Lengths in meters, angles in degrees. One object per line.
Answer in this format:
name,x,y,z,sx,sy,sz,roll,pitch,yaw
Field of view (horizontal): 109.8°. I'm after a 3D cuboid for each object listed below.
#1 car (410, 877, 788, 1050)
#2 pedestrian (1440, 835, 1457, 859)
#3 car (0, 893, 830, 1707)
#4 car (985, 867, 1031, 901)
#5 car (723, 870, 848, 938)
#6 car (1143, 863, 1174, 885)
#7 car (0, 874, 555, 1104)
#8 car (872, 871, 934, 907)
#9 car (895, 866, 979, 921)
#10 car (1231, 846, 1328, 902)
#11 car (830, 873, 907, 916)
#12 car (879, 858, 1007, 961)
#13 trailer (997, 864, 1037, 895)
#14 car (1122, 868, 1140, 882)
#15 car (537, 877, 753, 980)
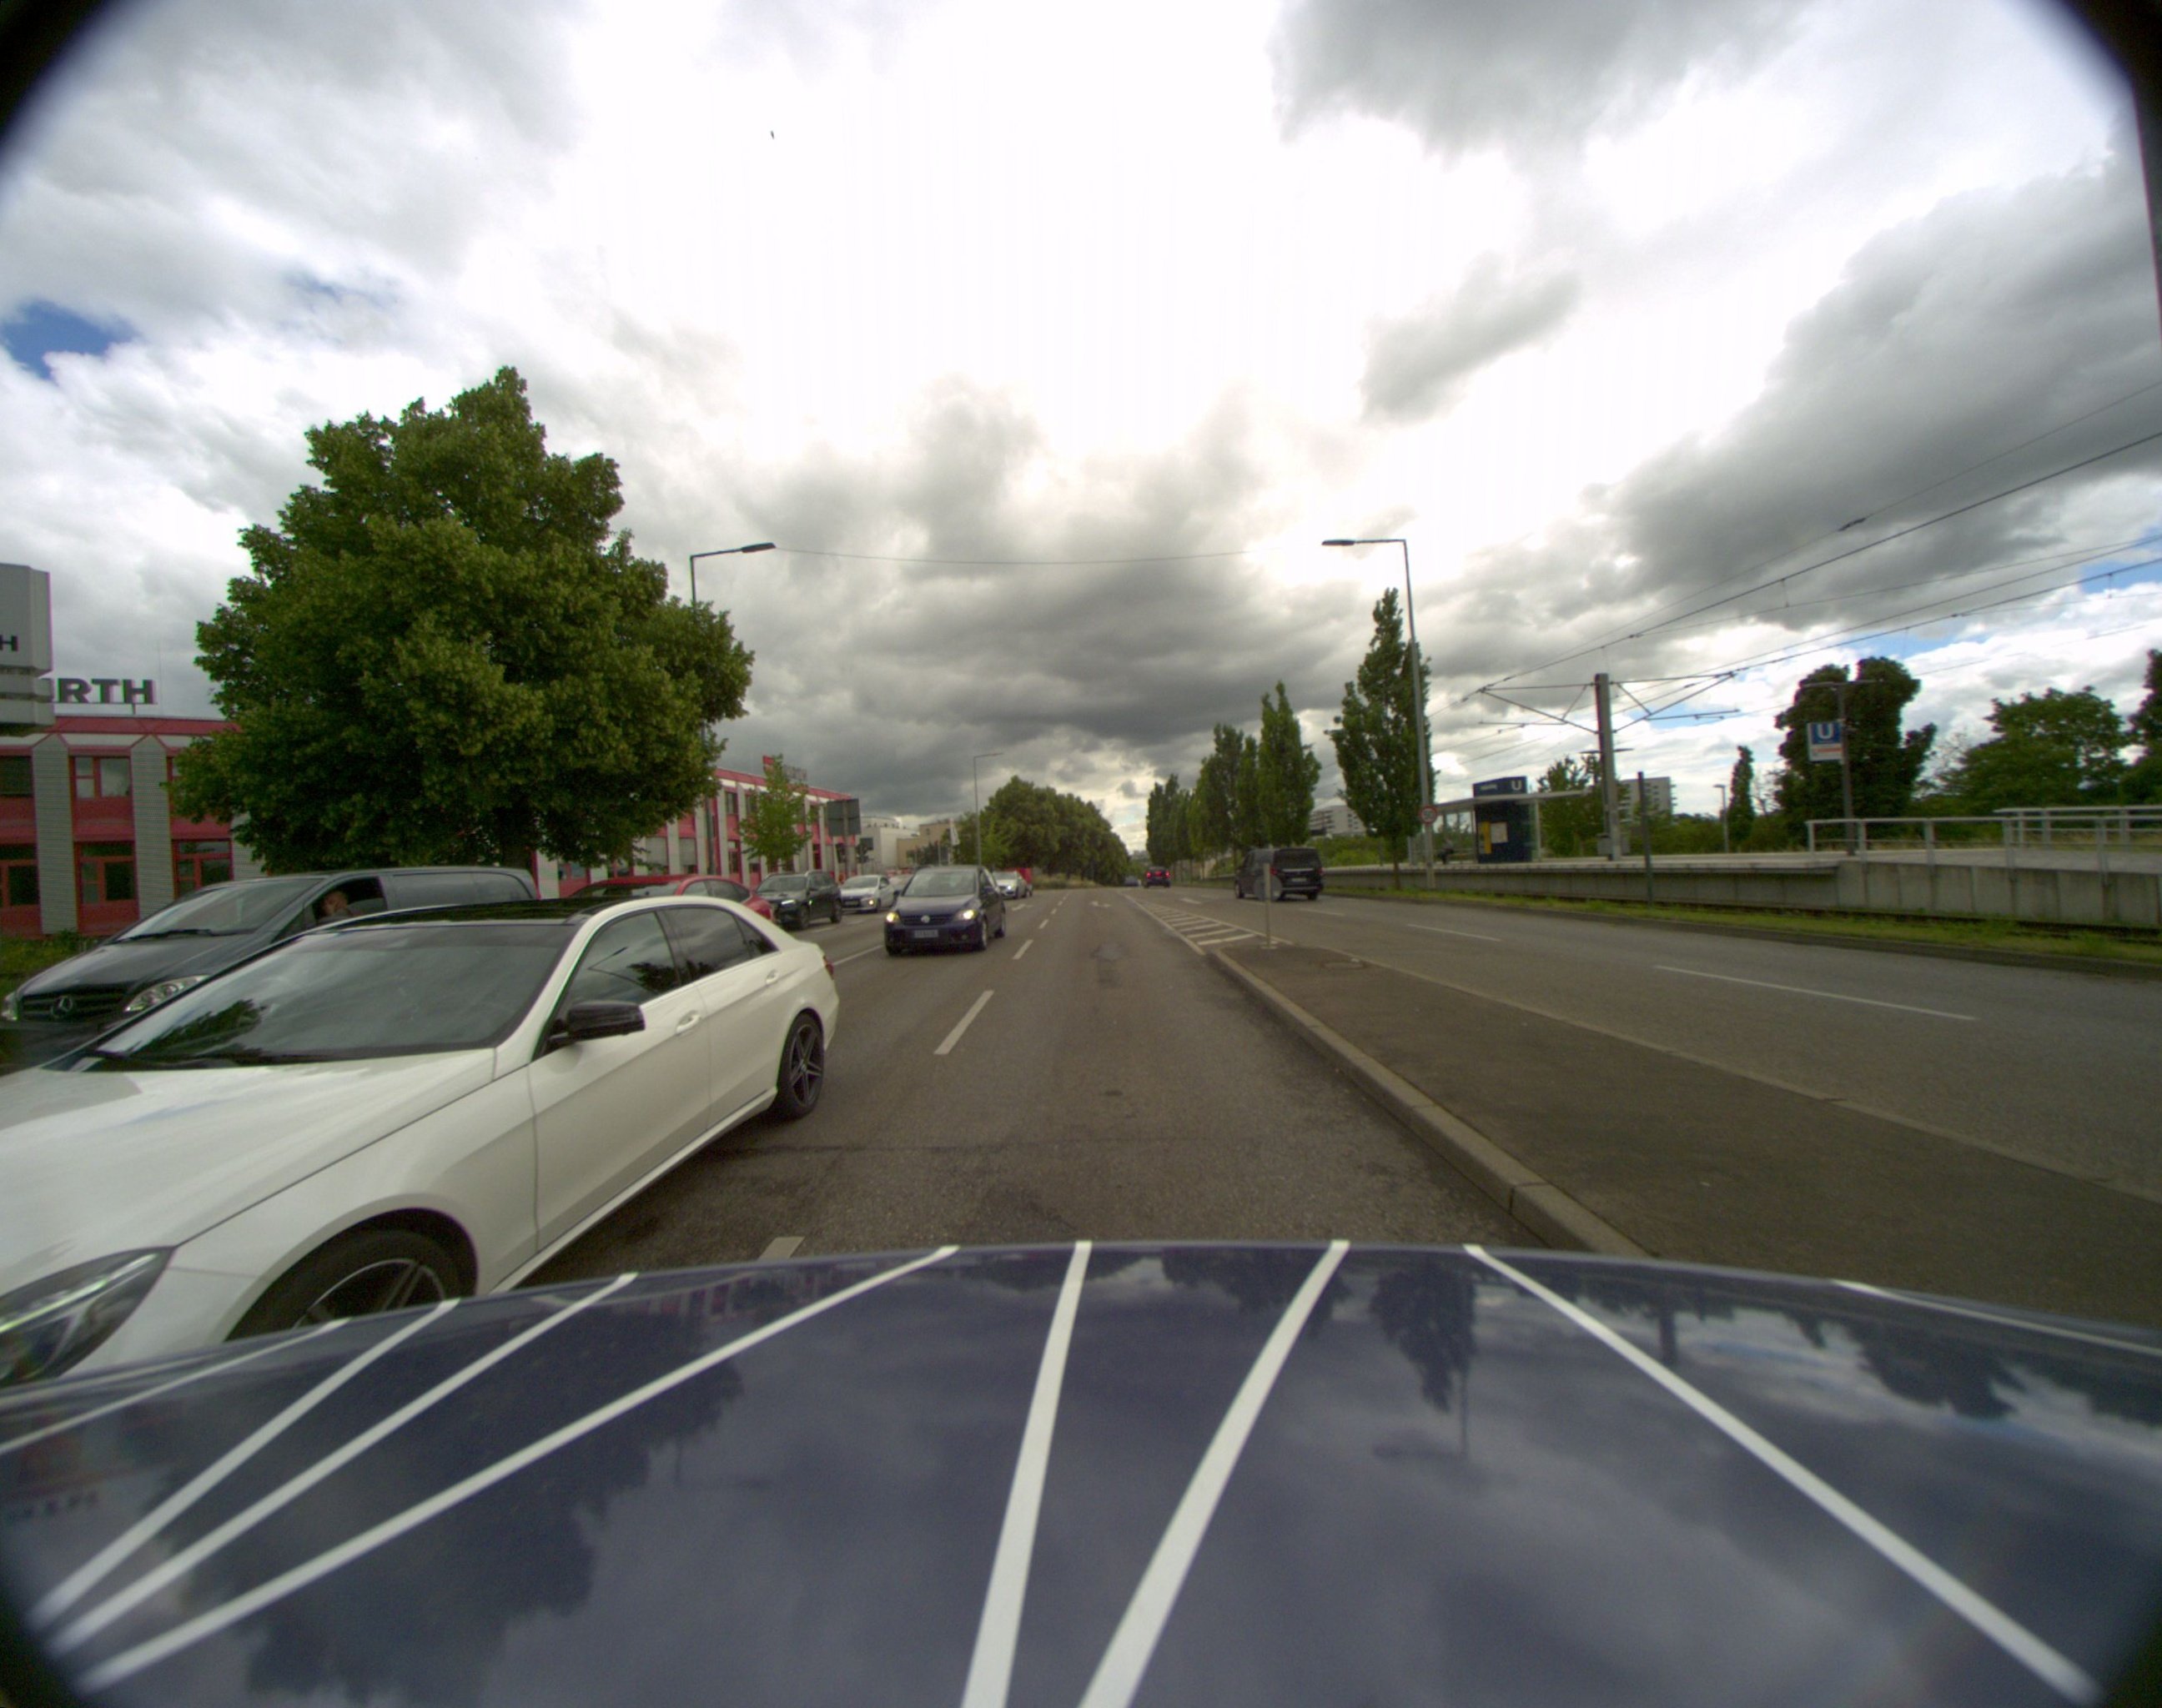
car,-5.461,1.118,9.466,1.851,1.521,4.377,-2,-1,0
pedestrian,17.754,-0.348,36.707,0.601,1.148,0.447,-2,1,1
car,-2.720,1.032,3.037,1.804,1.403,4.317,-2,1,2
car,-3.733,1.497,39.378,1.775,1.442,4.401,-2,1,1
car,-8.438,1.375,22.152,1.865,1.648,4.209,-4,-1,1
car,5.759,1.442,56.981,1.740,1.499,3.659,-2,0,-2
car,-8.744,1.236,8.818,1.763,1.764,4.676,-6,-1,2
car,-8.169,1.568,35.193,1.763,1.431,4.370,-3,0,0
car,-4.794,1.263,25.868,1.797,1.521,4.219,-2,1,3
car,7.126,0.702,27.881,1.893,1.802,5.091,-2,-1,-4
car,-8.408,1.557,30.407,1.763,1.431,4.370,-3,0,0
car,-2.509,0.940,14.735,1.669,1.589,3.996,-2,1,0
trailer,-3.622,1.415,43.599,1.775,1.649,3.997,-2,0,1
car,5.846,2.433,88.989,1.761,1.519,3.600,-2,1,-1
car,-8.587,1.384,15.479,1.844,1.507,4.106,-6,0,1
